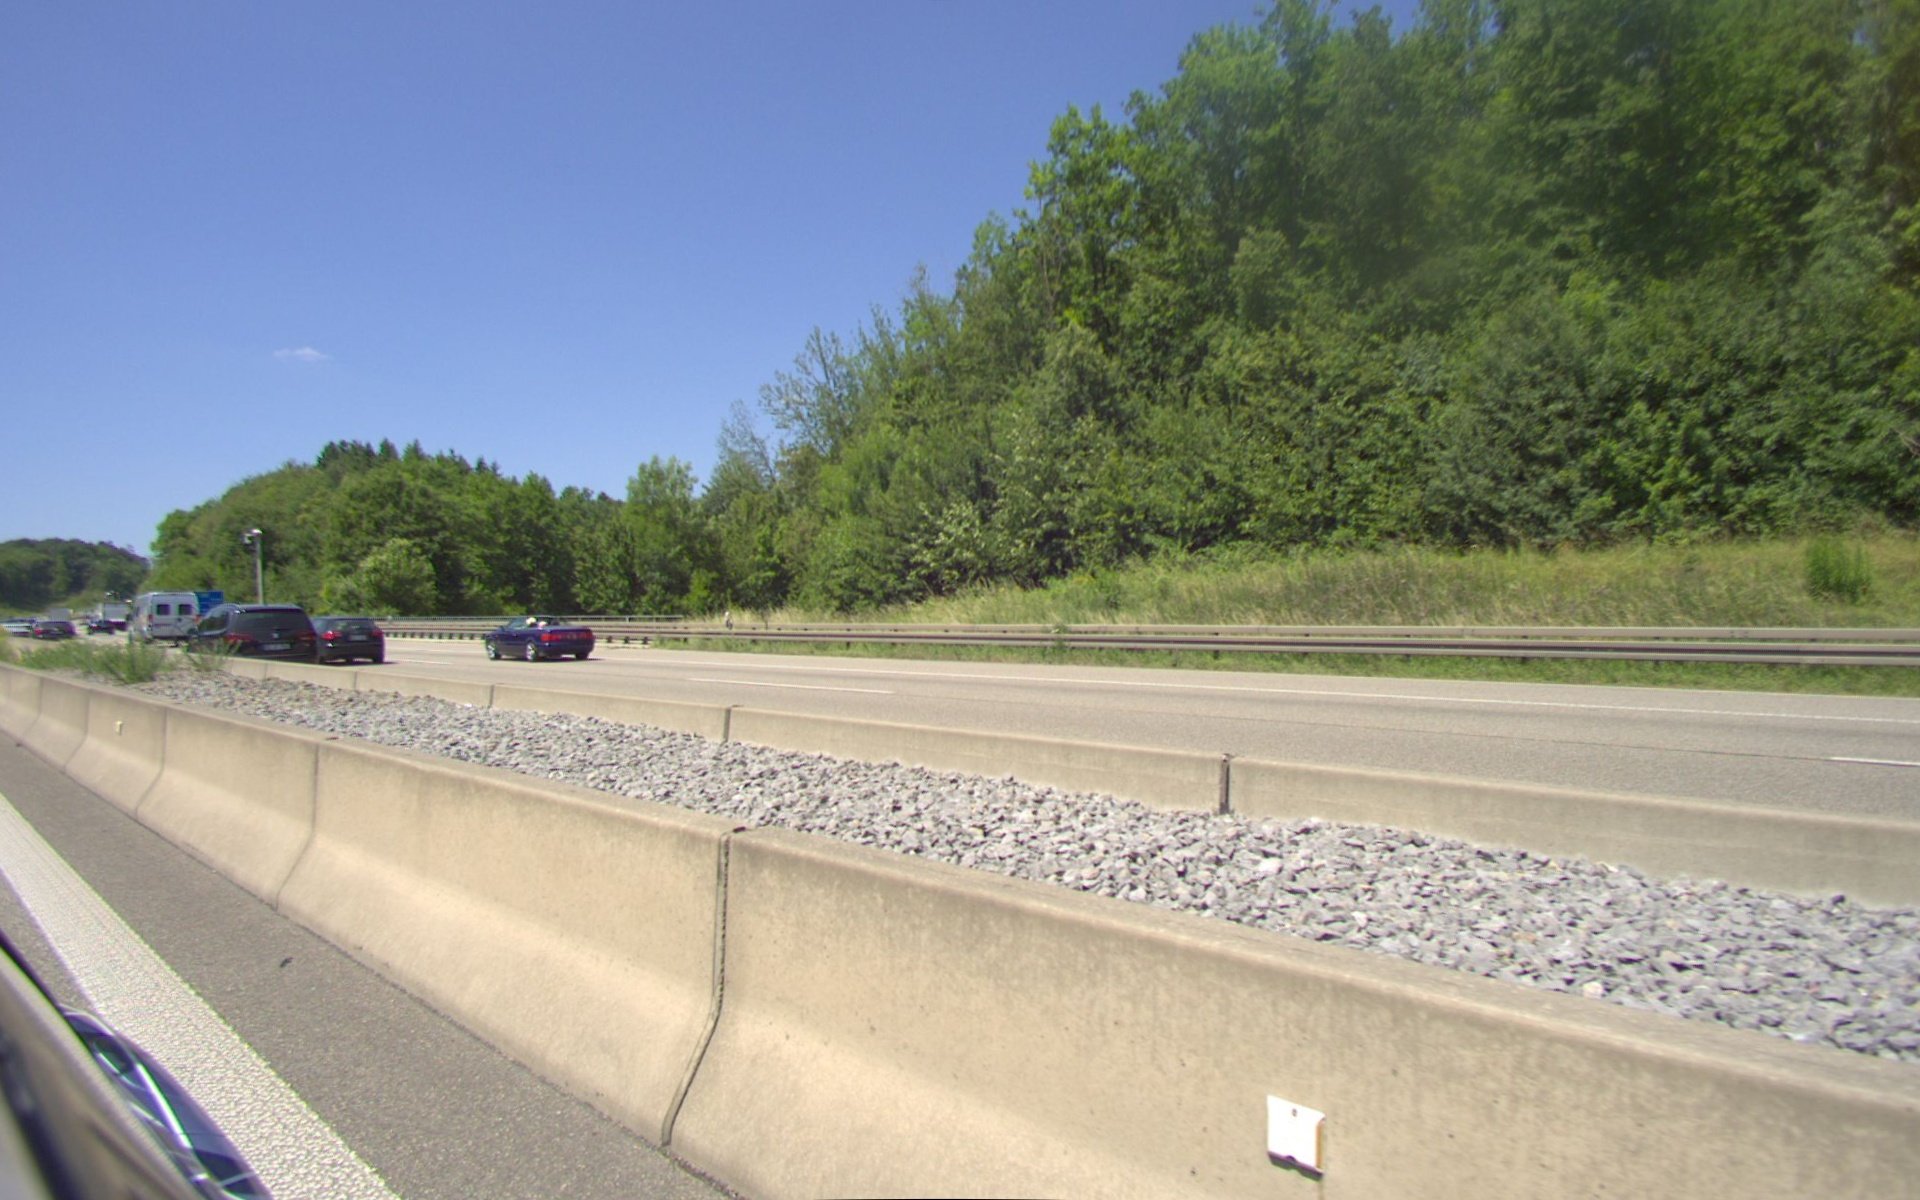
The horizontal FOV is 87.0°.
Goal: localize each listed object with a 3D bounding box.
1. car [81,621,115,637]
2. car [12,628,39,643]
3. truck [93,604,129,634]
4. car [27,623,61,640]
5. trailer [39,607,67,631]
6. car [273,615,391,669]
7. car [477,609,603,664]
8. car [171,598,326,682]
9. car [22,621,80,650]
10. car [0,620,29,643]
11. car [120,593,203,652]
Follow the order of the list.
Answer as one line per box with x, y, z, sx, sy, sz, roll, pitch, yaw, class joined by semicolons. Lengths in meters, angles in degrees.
-82.360;2.729;96.665;4.691;1.492;1.972;-1;-1;43;car
-99.199;3.749;107.411;4.001;1.558;1.822;-1;-1;44;car
-103.958;2.322;123.860;2.704;3.501;7.318;-1;-1;-45;truck
-79.108;2.690;87.397;4.233;1.431;1.822;-2;-1;43;car
-153.033;3.198;170.699;10.171;3.886;2.750;-2;-1;44;trailer
-18.385;1.202;29.551;4.270;1.412;1.794;-2;-1;42;car
-12.270;1.046;29.459;3.999;1.464;1.821;-2;-1;42;car
-16.409;0.876;23.274;4.355;1.737;1.972;-2;-1;42;car
-48.019;1.846;53.442;4.411;1.421;1.855;-1;-1;42;car
-67.154;2.237;71.427;4.256;1.538;1.784;-2;-1;43;car
-39.108;1.096;49.482;6.061;2.722;2.192;-1;-1;42;car
